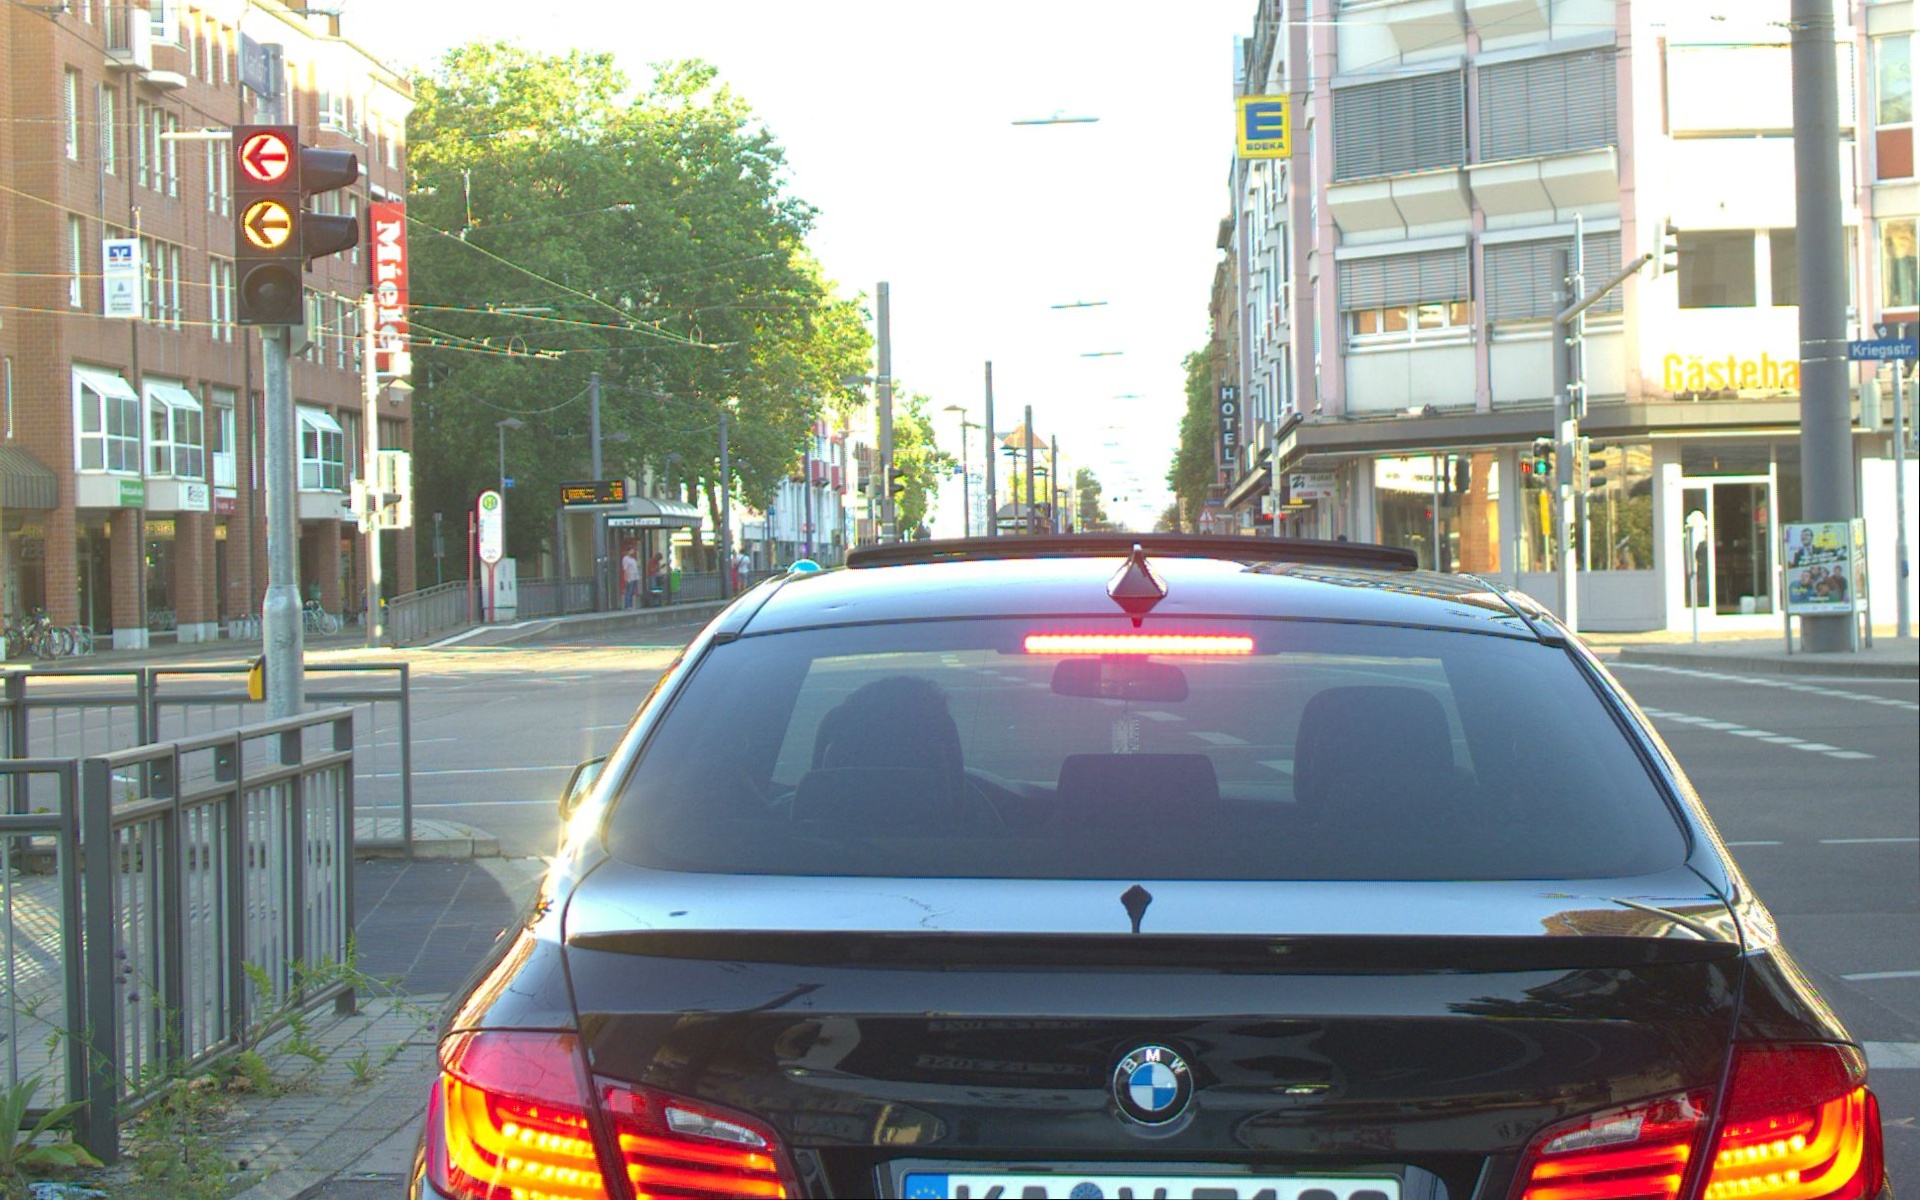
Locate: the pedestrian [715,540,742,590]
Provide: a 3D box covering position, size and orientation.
[{"bbox_3d":[-7.844,-1.186,116.490,0.723,1.675,0.991,-1,1,6],"label":"pedestrian"}]

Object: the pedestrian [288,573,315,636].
[{"bbox_3d":[-17.861,0.114,93.224,0.486,1.675,0.655,-1,1,8],"label":"pedestrian"}]

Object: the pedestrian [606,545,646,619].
[{"bbox_3d":[-9.115,-0.494,93.727,0.988,2.007,0.726,0,1,2],"label":"pedestrian"}]

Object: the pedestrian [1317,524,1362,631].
[{"bbox_3d":[6.632,-0.394,60.102,0.684,1.848,0.671,-1,1,0],"label":"pedestrian"}]

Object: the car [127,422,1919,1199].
[{"bbox_3d":[0.183,0.597,5.245,1.993,1.579,4.000,1,1,-1],"label":"car"}]

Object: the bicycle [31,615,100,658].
[{"bbox_3d":[-19.268,0.782,74.088,1.412,0.919,0.444,0,1,-12],"label":"bicycle"}]

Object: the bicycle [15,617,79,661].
[{"bbox_3d":[-19.302,0.830,72.671,1.285,0.919,0.349,0,1,-12],"label":"bicycle"}]

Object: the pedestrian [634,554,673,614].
[{"bbox_3d":[-8.817,-0.463,98.870,0.988,1.675,0.726,-1,1,2],"label":"pedestrian"}]

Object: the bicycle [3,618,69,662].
[{"bbox_3d":[-19.379,0.837,72.110,1.286,0.919,0.349,0,1,0],"label":"bicycle"}]

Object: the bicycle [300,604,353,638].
[{"bbox_3d":[-17.449,0.590,94.685,1.412,0.919,0.403,0,1,-10],"label":"bicycle"}]

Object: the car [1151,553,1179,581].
[{"bbox_3d":[11.516,-1.841,193.467,1.473,1.509,3.096,-1,1,2],"label":"car"}]

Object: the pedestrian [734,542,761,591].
[{"bbox_3d":[-7.324,-1.152,118.613,0.723,1.675,0.991,-1,1,6],"label":"pedestrian"}]
